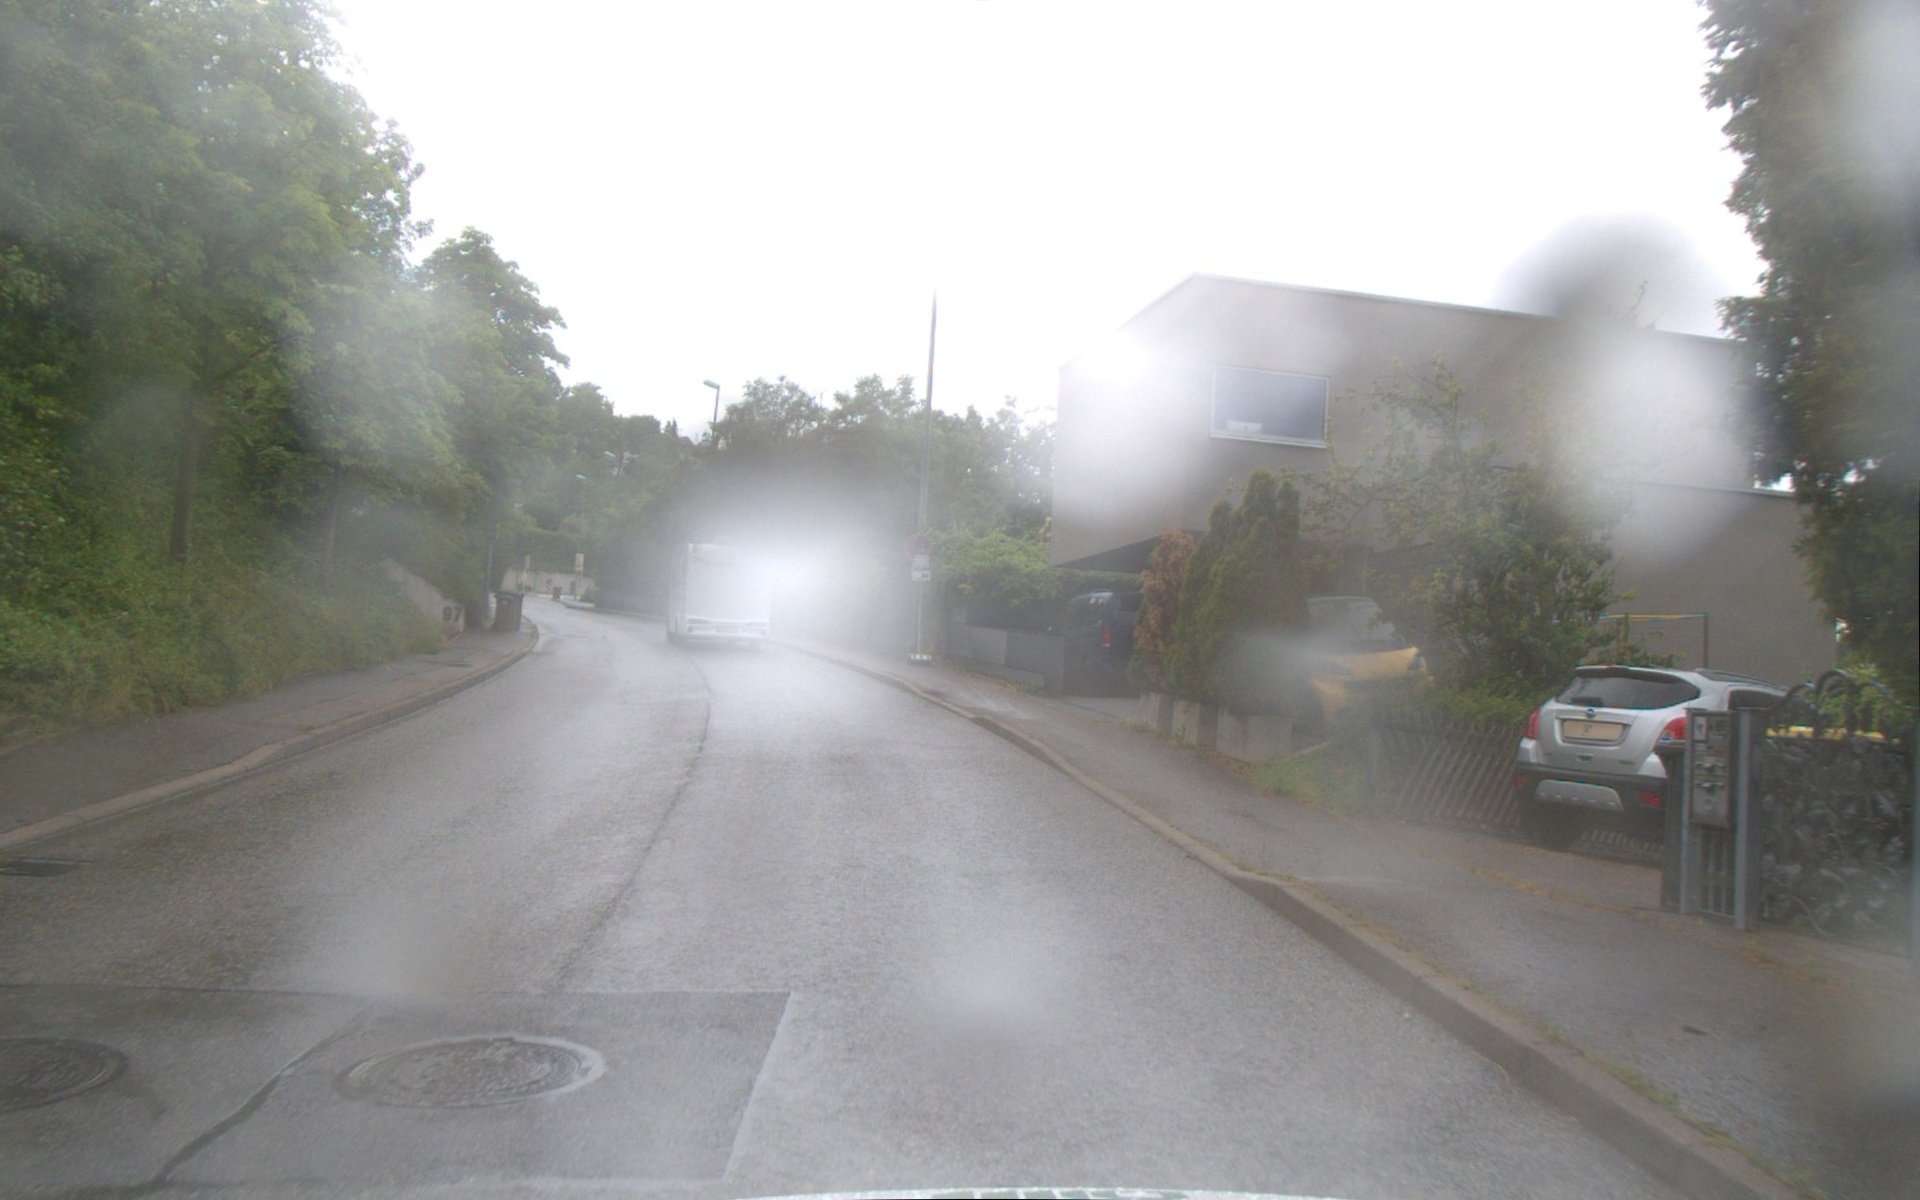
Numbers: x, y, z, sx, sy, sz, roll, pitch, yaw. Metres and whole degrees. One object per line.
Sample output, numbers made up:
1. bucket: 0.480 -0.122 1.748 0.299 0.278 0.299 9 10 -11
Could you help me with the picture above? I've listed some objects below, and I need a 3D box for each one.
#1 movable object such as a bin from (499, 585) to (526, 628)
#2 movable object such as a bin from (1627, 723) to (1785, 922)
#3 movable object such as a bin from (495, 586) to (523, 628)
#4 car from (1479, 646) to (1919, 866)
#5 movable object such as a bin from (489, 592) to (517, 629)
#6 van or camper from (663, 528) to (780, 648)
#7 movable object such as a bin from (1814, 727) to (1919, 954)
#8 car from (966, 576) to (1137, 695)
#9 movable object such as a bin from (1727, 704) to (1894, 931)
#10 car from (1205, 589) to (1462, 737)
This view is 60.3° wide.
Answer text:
1. movable object such as a bin: -12.076 0.173 44.622 0.637 1.123 0.671 3 0 -14
2. movable object such as a bin: 4.125 1.216 9.169 0.495 0.986 0.593 5 -1 -7
3. movable object such as a bin: -11.978 0.182 43.960 0.637 1.099 0.671 3 0 -14
4. car: 6.514 1.306 14.492 3.724 1.690 1.757 2 -4 -32
5. movable object such as a bin: -11.928 0.262 43.154 0.637 0.927 0.671 3 0 -14
6. van or camper: -6.554 -0.276 44.844 2.497 2.976 5.925 2 -1 -14
7. movable object such as a bin: 5.212 1.328 9.182 0.512 1.157 0.593 5 -1 -7
8. car: 1.587 0.720 30.703 1.959 1.975 4.758 2 -3 -12
9. movable object such as a bin: 4.689 1.186 9.142 0.495 1.136 0.593 5 -1 -7
10. car: 4.350 0.696 19.777 1.600 1.519 3.414 -3 0 -13
